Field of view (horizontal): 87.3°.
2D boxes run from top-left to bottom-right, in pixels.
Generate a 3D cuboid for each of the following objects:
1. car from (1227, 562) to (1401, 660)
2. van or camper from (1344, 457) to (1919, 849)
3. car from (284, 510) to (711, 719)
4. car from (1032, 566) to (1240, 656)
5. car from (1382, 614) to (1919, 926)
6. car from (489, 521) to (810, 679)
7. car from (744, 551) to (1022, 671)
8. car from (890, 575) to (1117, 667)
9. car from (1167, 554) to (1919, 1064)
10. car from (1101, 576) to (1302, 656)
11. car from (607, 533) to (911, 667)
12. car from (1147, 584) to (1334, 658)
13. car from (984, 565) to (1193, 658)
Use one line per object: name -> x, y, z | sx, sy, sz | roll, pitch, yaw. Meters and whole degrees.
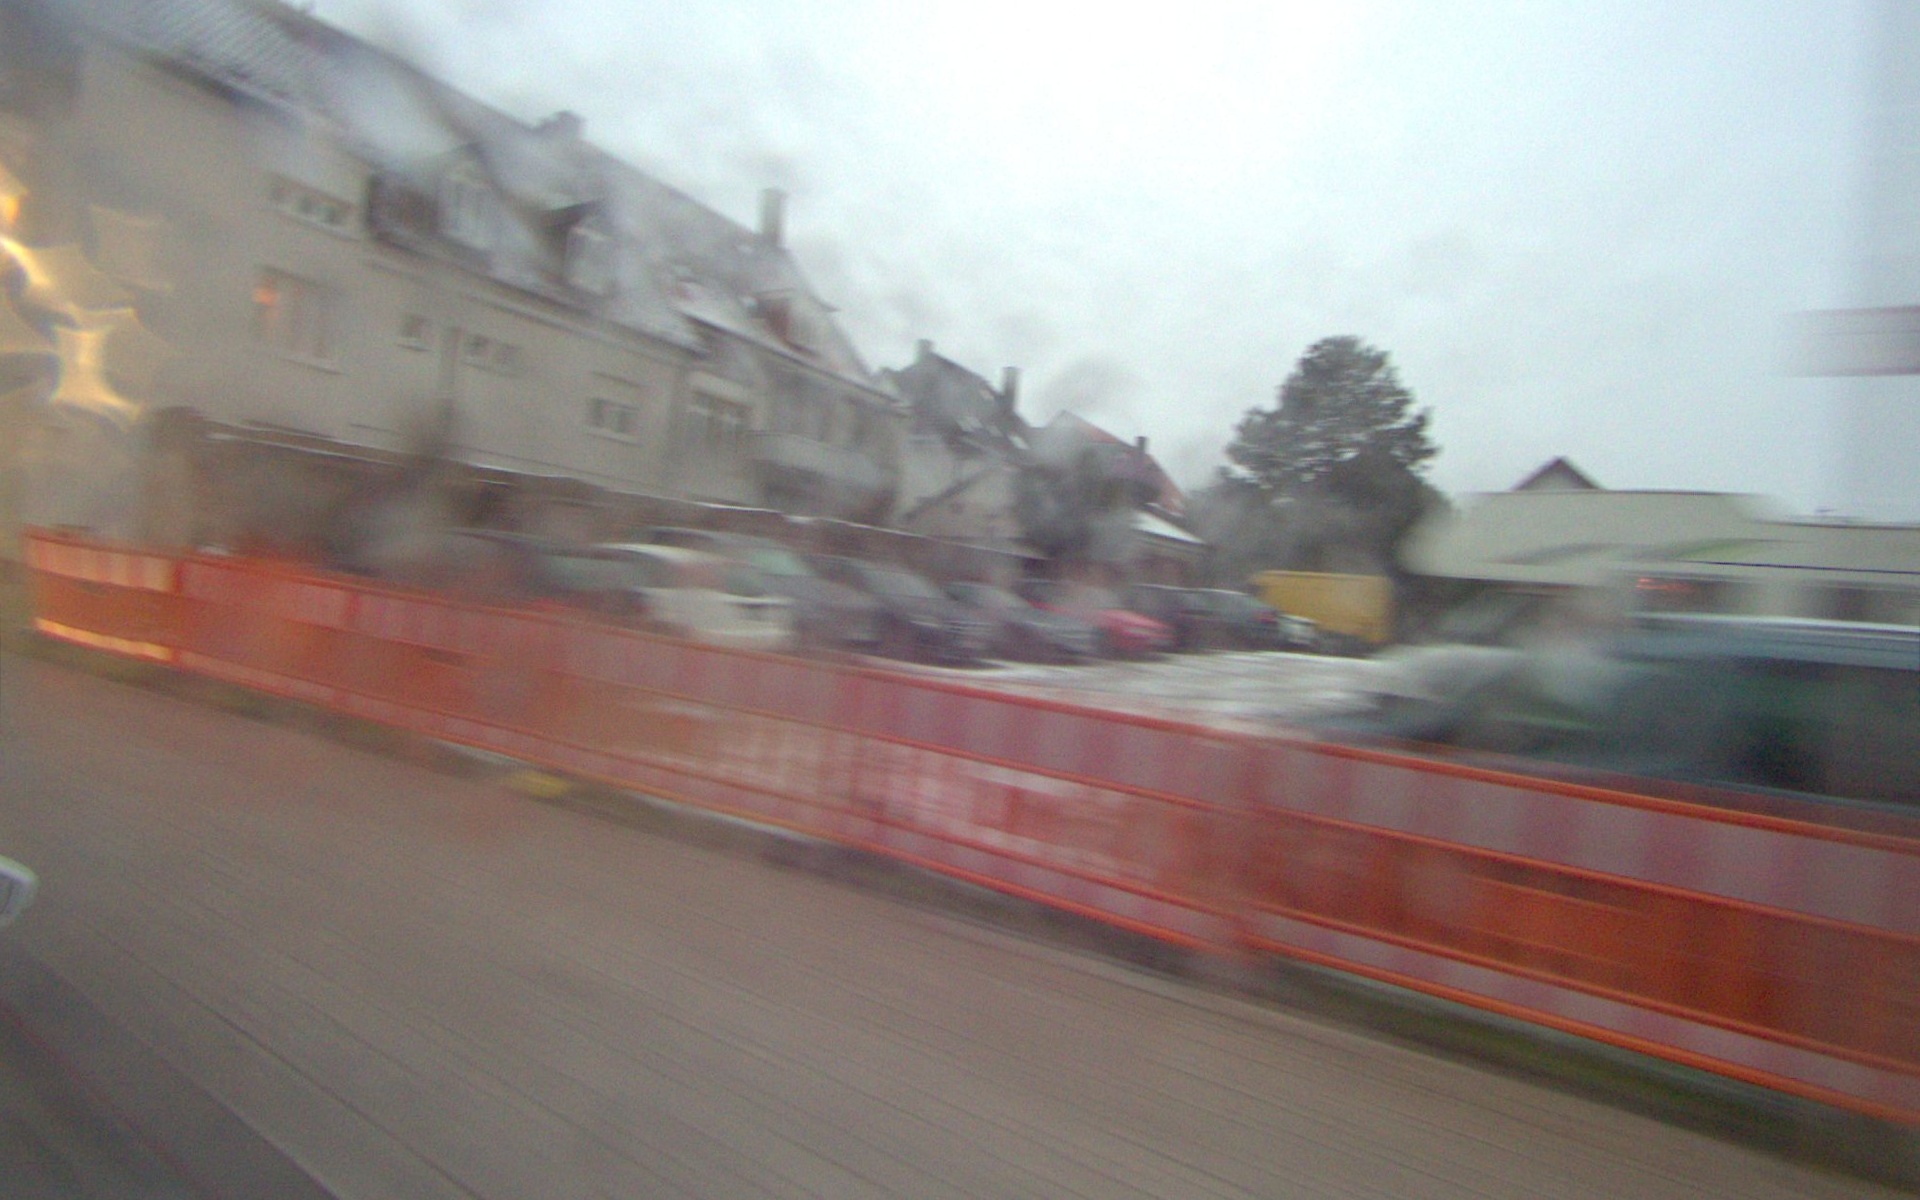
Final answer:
car -> 10.294, 0.290, 29.455 | 4.193, 2.364, 1.881 | 8, 3, 43
van or camper -> 7.641, 0.404, 9.907 | 6.620, 3.090, 2.651 | 7, 3, 30
car -> -4.576, 0.108, 9.985 | 3.568, 1.480, 1.891 | 7, 0, 25
car -> 4.106, 0.238, 23.703 | 4.186, 1.598, 2.158 | 7, 2, 34
car -> 5.585, 1.109, 7.396 | 4.113, 1.631, 1.991 | 5, 1, 38
car -> -3.905, -0.038, 12.589 | 3.570, 1.482, 1.723 | 7, 2, 27
car -> -1.395, 0.134, 17.207 | 4.466, 1.482, 1.886 | 7, 3, 34
car -> 0.781, 0.375, 19.513 | 3.986, 1.273, 1.832 | 7, 2, 38
car -> 3.580, 0.875, 5.351 | 4.283, 1.788, 1.992 | 7, 2, 36
car -> 6.073, 0.385, 25.465 | 4.465, 1.481, 1.887 | 7, 2, 33
car -> -3.134, -0.047, 15.307 | 4.475, 1.481, 1.822 | 7, 2, 34
car -> 7.658, 0.558, 27.641 | 4.466, 1.481, 1.886 | 7, 2, 34
car -> 2.668, 0.229, 21.275 | 3.865, 1.481, 1.884 | 7, 2, 38
